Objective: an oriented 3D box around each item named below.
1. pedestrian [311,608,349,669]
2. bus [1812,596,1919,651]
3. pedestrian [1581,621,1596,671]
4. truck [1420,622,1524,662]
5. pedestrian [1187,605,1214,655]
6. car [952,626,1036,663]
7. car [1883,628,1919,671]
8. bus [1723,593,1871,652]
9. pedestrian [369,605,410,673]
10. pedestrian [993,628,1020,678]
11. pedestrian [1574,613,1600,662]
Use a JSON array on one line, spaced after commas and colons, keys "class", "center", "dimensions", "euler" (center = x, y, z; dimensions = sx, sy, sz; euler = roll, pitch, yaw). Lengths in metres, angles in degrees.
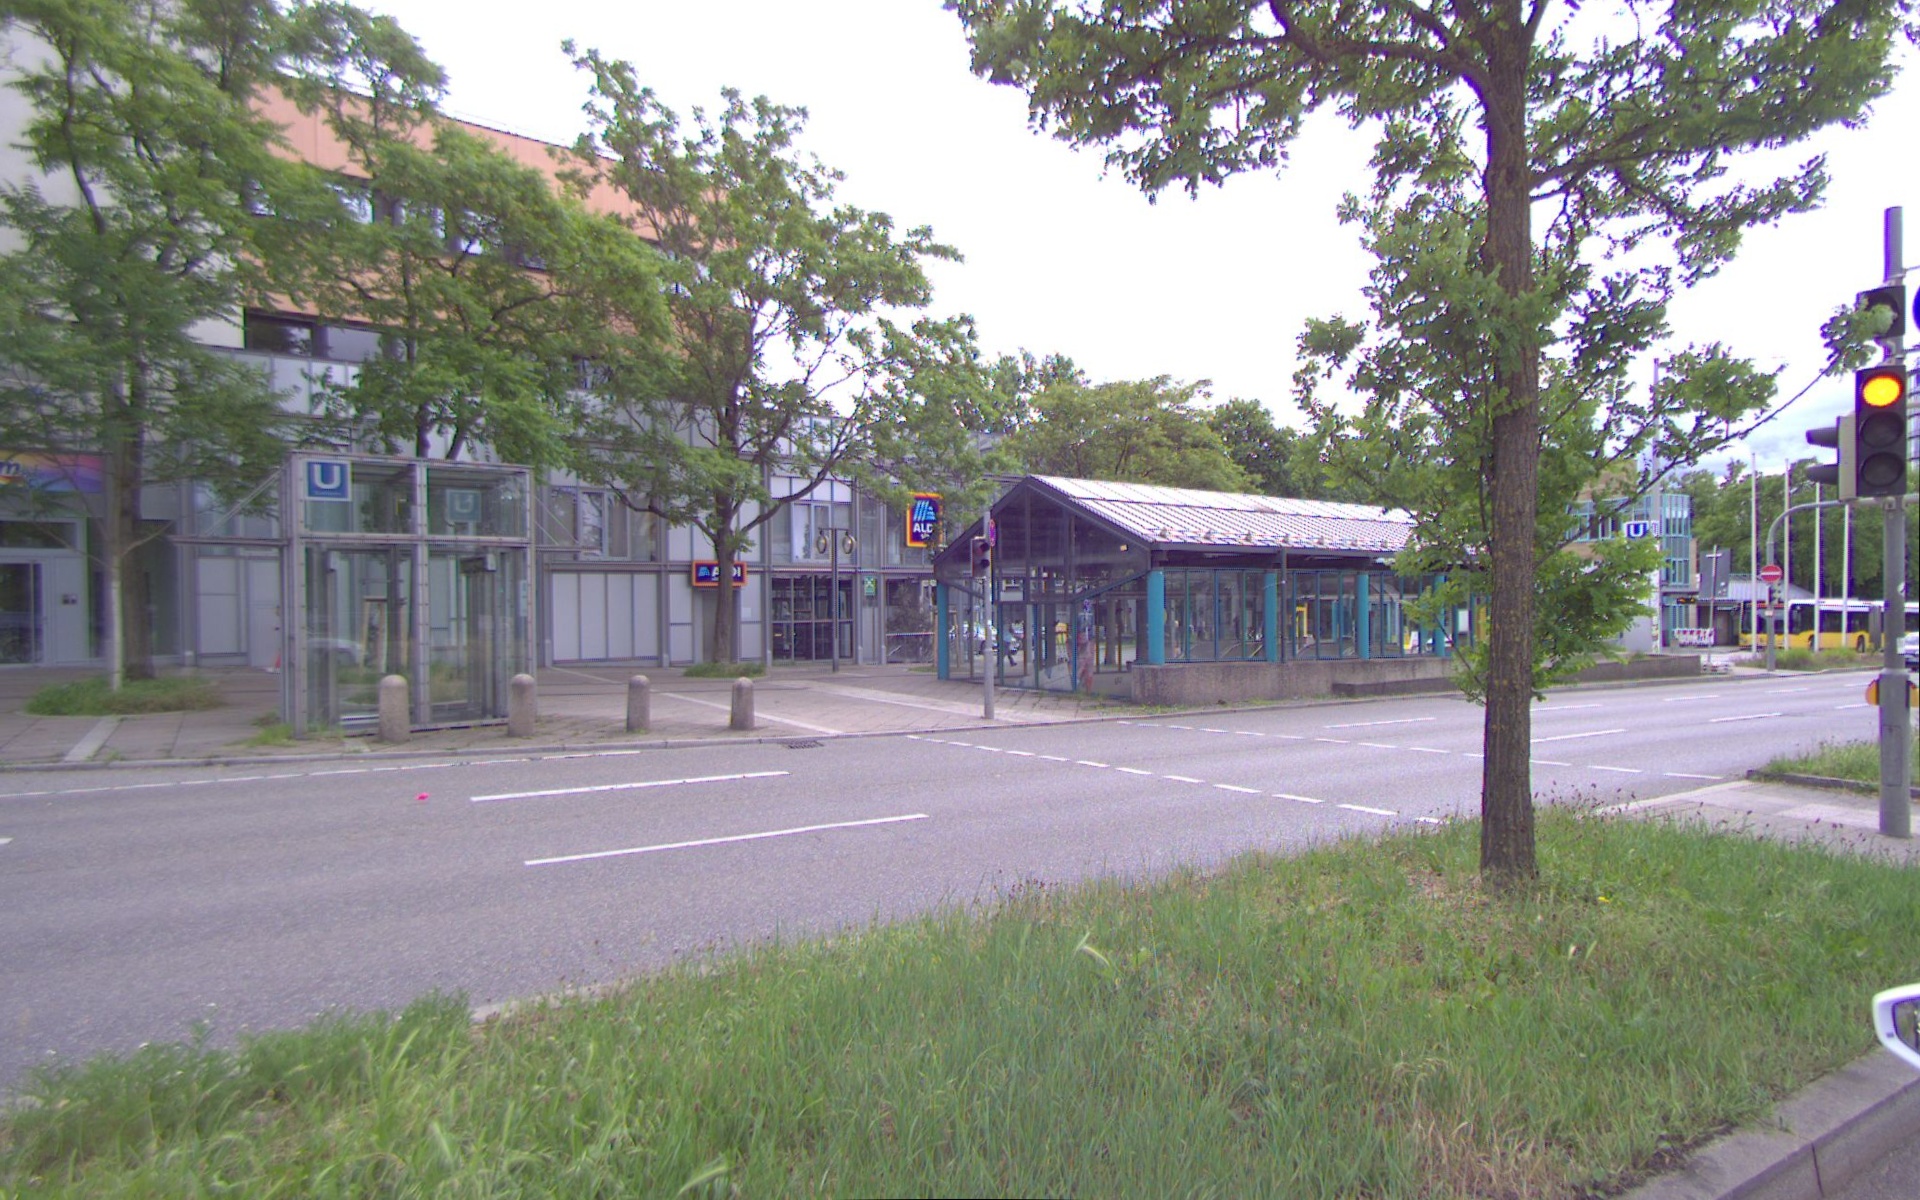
[{"class": "pedestrian", "center": [-14.791, 0.895, 23.580], "dimensions": [0.689, 1.393, 0.578], "euler": [1, -1, -37]}, {"class": "bus", "center": [57.923, 1.542, 63.771], "dimensions": [7.771, 3.313, 2.980], "euler": [1, -1, -26]}, {"class": "pedestrian", "center": [20.683, 1.515, 33.072], "dimensions": [0.412, 1.612, 0.356], "euler": [0, -1, 31]}, {"class": "truck", "center": [20.833, 1.704, 40.831], "dimensions": [3.954, 1.537, 1.984], "euler": [1, -1, -31]}, {"class": "pedestrian", "center": [8.263, 1.037, 34.496], "dimensions": [0.650, 1.689, 0.635], "euler": [2, 0, -10]}, {"class": "car", "center": [1.654, 2.192, 50.380], "dimensions": [1.769, 1.710, 4.838], "euler": [1, -1, -33]}, {"class": "car", "center": [37.553, 1.914, 39.169], "dimensions": [3.316, 1.599, 1.673], "euler": [1, -1, -36]}, {"class": "bus", "center": [49.926, 1.380, 59.831], "dimensions": [10.036, 3.293, 2.980], "euler": [1, -1, -26]}, {"class": "pedestrian", "center": [-12.854, 0.872, 22.639], "dimensions": [0.748, 1.499, 0.525], "euler": [1, -1, -36]}, {"class": "pedestrian", "center": [1.567, 1.772, 33.838], "dimensions": [0.703, 1.677, 0.517], "euler": [1, -1, -37]}, {"class": "pedestrian", "center": [24.739, 1.474, 39.623], "dimensions": [0.677, 1.922, 0.658], "euler": [1, -1, -30]}]
